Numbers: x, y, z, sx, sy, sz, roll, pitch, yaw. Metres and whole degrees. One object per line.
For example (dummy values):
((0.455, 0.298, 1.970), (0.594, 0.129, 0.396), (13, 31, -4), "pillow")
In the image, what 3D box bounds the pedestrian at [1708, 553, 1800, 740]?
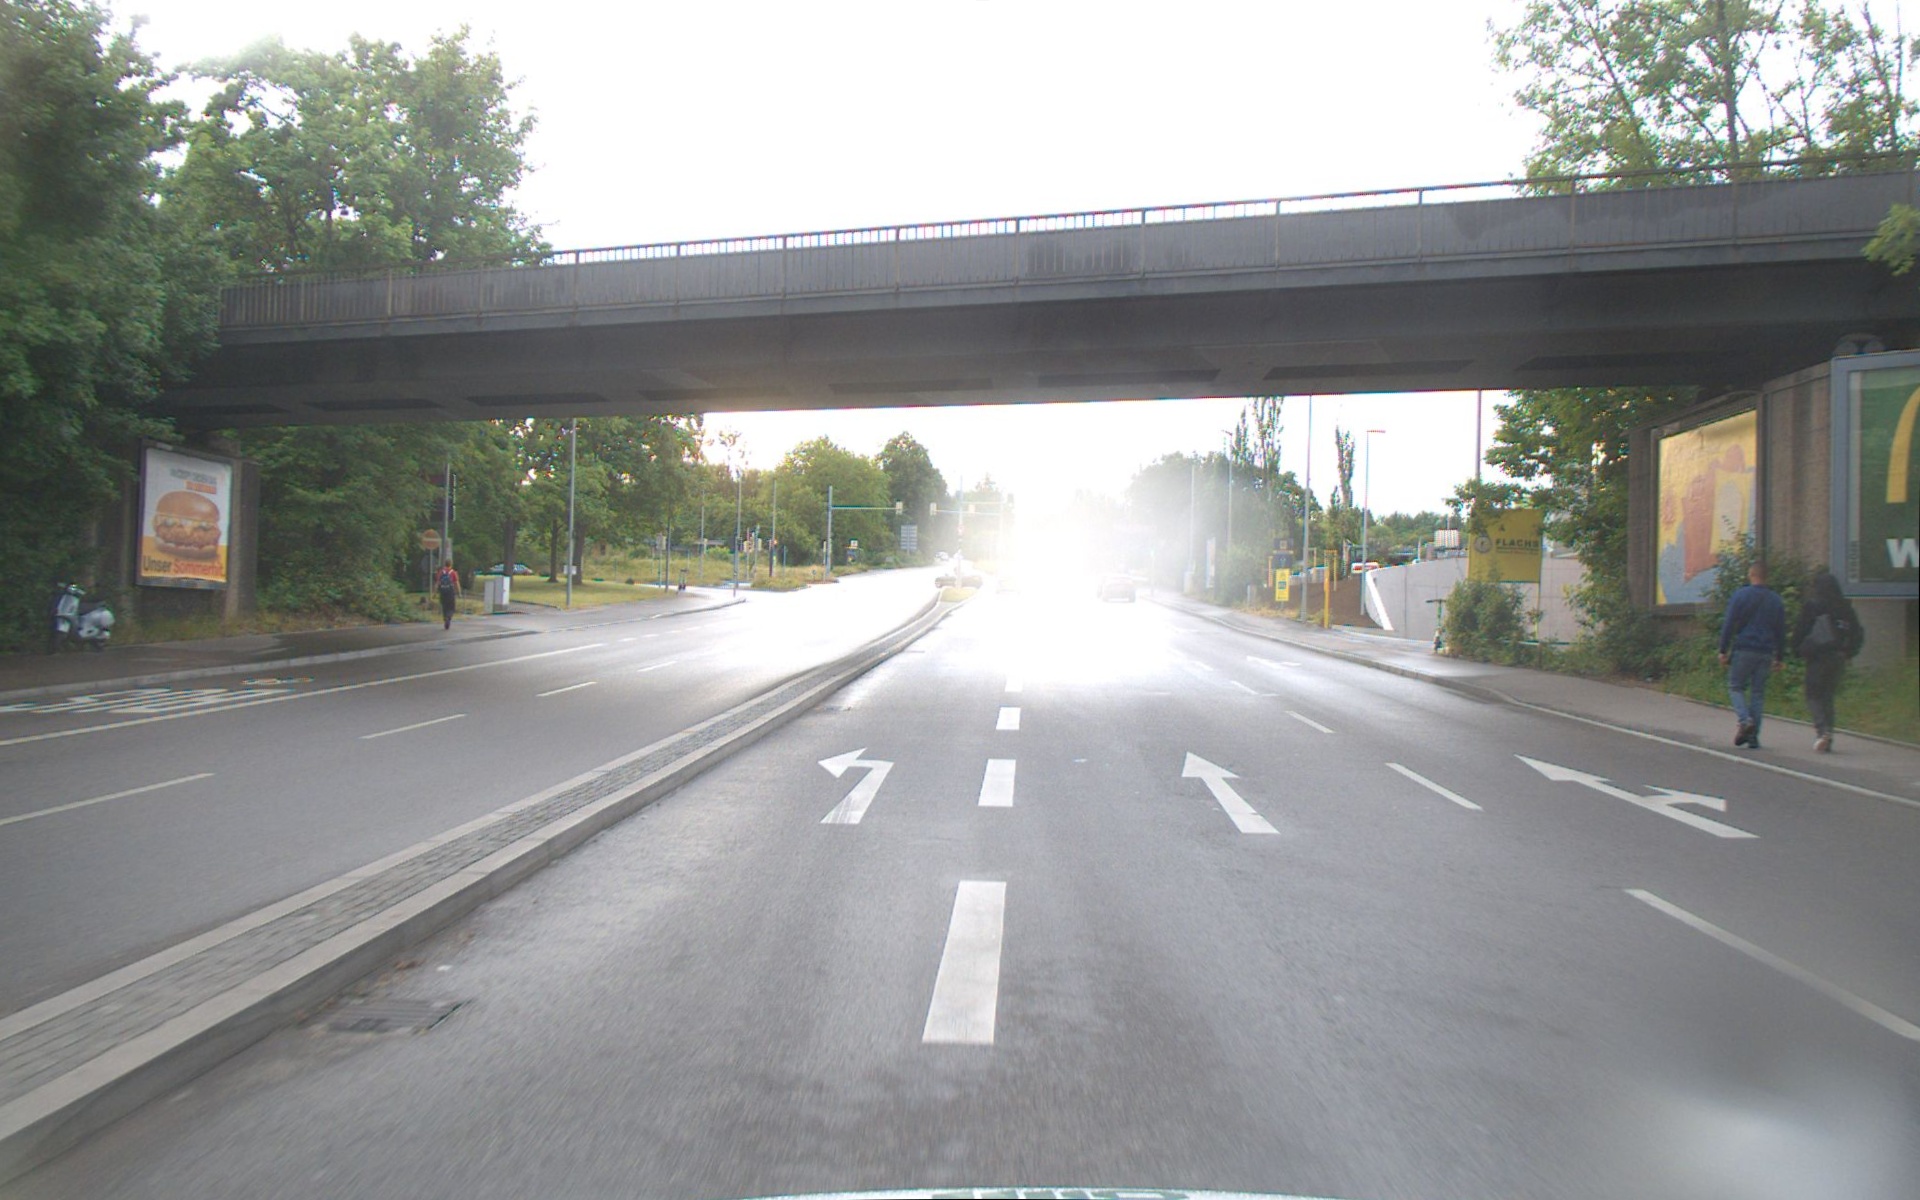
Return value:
((7.678, 0.431, 16.027), (0.598, 1.751, 0.892), (1, 0, 12), "pedestrian")

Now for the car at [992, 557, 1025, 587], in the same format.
((3.158, -1.825, 108.852), (2.034, 1.748, 4.198), (3, 0, 1), "car")

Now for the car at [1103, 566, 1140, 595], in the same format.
((8.950, -1.114, 91.903), (1.708, 1.495, 4.168), (2, 2, 2), "car")

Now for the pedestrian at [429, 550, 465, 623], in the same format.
((-13.115, -0.352, 42.261), (0.508, 1.847, 0.800), (2, 1, 12), "pedestrian")

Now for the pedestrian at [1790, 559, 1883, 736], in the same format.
((8.228, 0.431, 15.542), (0.636, 1.624, 0.579), (1, 0, 14), "pedestrian")

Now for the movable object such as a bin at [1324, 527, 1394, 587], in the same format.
((23.171, -2.544, 96.338), (2.257, 3.333, 5.420), (1, 2, -5), "movable object such as a bin")

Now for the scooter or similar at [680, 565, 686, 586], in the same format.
((-16.321, -1.441, 97.565), (0.306, 1.239, 1.304), (1, 2, -11), "scooter or similar")

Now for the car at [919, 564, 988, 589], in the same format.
((-0.465, -1.718, 121.453), (4.563, 1.610, 2.169), (3, 0, 30), "car")

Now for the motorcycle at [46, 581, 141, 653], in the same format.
((-14.903, 0.276, 28.500), (0.458, 1.179, 1.934), (1, 1, 6), "motorcycle")

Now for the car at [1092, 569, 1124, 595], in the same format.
((9.090, -1.128, 101.856), (1.708, 1.495, 4.168), (2, 2, 2), "car")

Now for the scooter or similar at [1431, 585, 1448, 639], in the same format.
((10.520, 0.250, 36.289), (0.250, 1.149, 1.280), (2, 1, 19), "scooter or similar")
